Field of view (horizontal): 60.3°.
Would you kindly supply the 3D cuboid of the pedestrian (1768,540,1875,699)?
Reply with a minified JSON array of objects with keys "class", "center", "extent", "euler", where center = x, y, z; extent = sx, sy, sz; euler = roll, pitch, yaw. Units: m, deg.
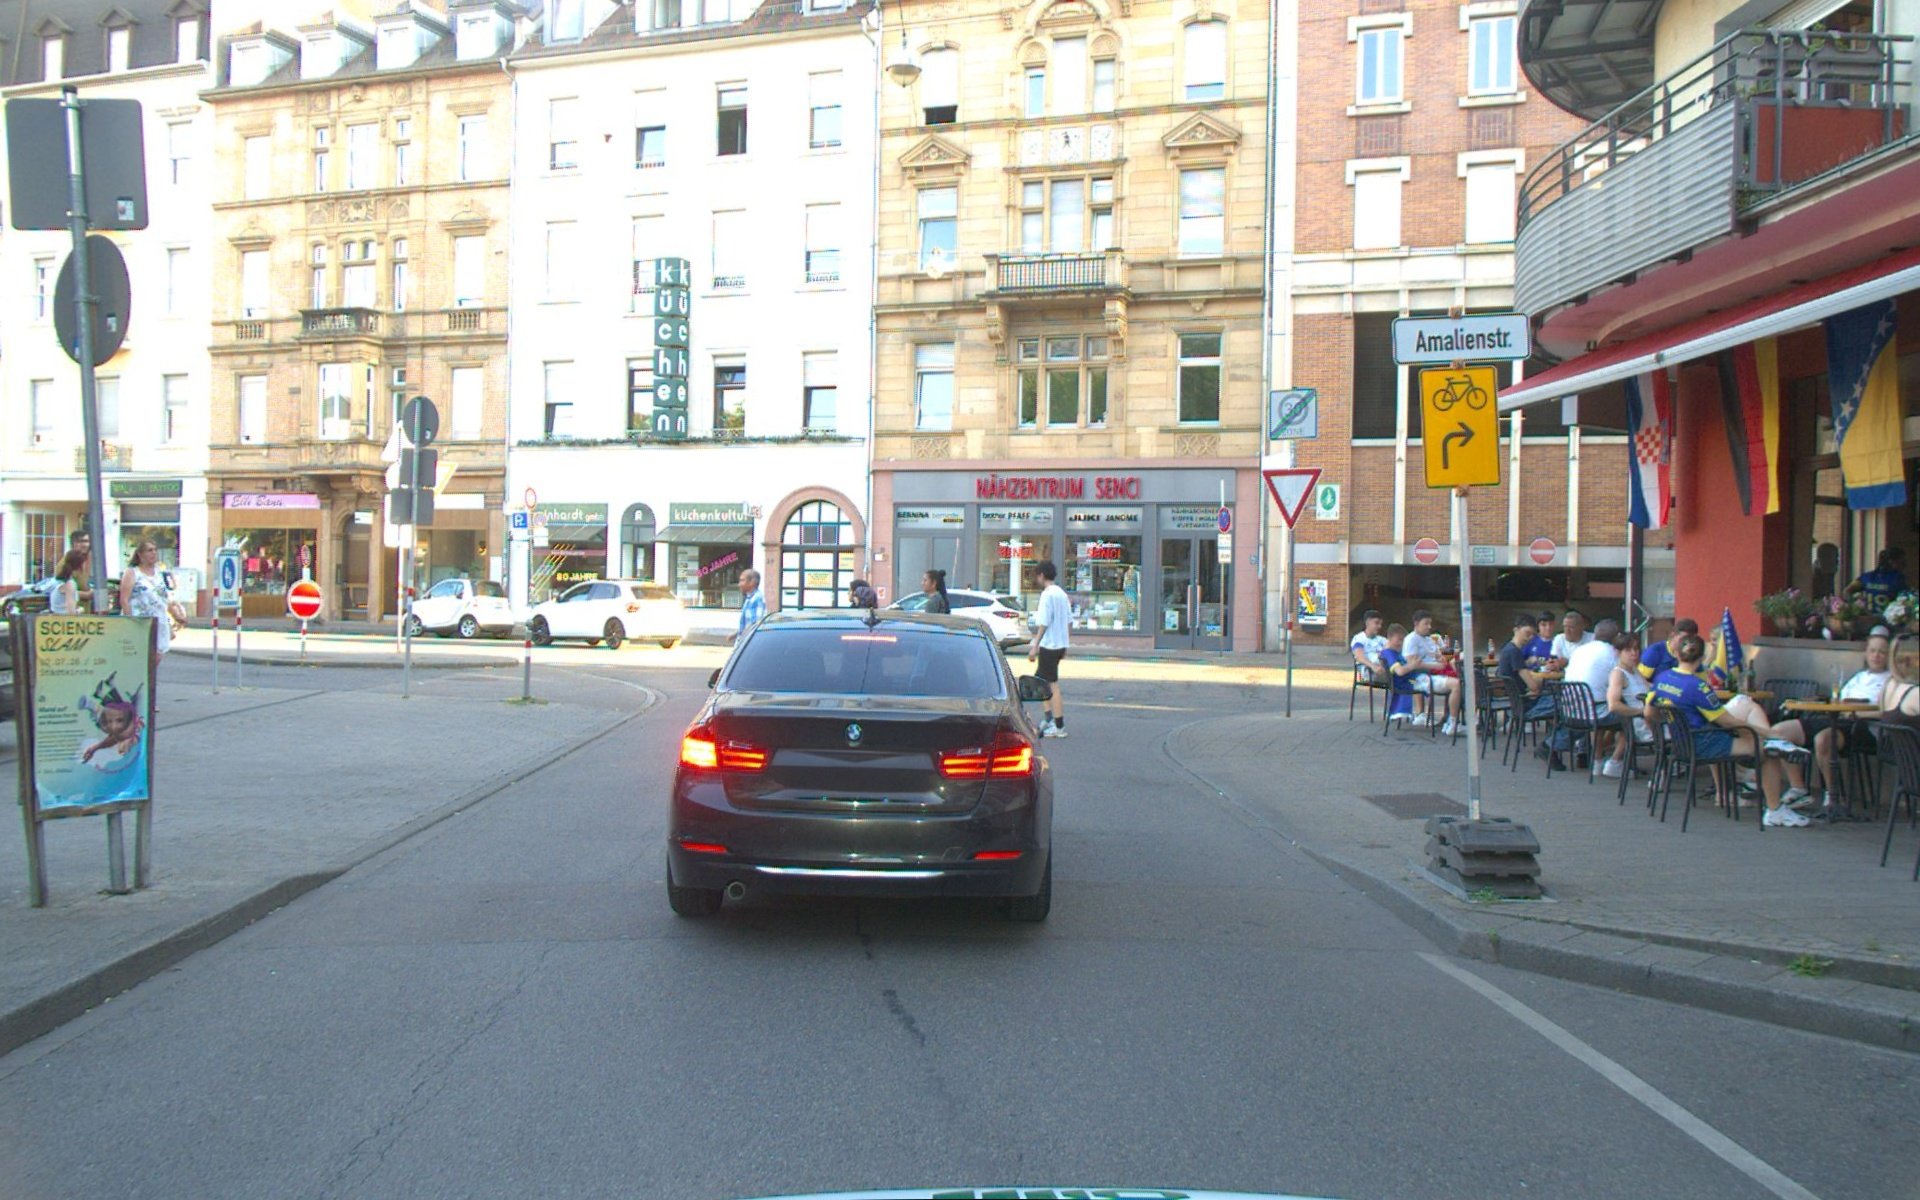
[{"class":"pedestrian","center":[9.075,0.203,17.436],"extent":[0.705,1.635,0.682],"euler":[2,0,-29]}]

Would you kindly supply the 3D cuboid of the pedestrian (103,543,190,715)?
[{"class":"pedestrian","center":[-8.592,0.293,17.471],"extent":[0.652,1.776,0.663],"euler":[0,0,-44]}]

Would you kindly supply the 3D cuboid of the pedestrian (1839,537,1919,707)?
[{"class":"pedestrian","center":[9.192,0.215,16.393],"extent":[0.524,1.635,0.605],"euler":[2,0,-24]}]

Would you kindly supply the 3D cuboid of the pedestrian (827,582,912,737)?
[{"class":"pedestrian","center":[-0.938,0.600,16.957],"extent":[0.722,1.540,0.648],"euler":[3,0,-12]}]

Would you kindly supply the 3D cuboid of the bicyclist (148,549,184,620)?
[{"class":"bicyclist","center":[-20.516,-0.398,42.745],"extent":[0.604,1.787,0.526],"euler":[2,0,13]}]

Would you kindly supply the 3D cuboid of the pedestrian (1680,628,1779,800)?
[{"class":"pedestrian","center":[5.696,0.830,12.245],"extent":[0.528,1.222,0.415],"euler":[-2,0,45]}]

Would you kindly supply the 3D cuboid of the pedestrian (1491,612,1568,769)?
[{"class":"pedestrian","center":[4.949,0.775,14.378],"extent":[0.481,1.326,0.418],"euler":[-2,0,-3]}]

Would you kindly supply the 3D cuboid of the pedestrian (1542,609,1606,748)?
[{"class":"pedestrian","center":[5.905,0.740,15.913],"extent":[0.479,1.299,0.522],"euler":[1,0,10]}]

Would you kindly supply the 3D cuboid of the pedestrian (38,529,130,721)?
[{"class":"pedestrian","center":[-8.934,0.244,16.891],"extent":[0.571,1.915,0.634],"euler":[1,0,3]}]

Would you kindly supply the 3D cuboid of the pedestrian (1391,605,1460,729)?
[{"class":"pedestrian","center":[5.049,0.718,17.968],"extent":[0.604,1.306,0.660],"euler":[1,0,6]}]

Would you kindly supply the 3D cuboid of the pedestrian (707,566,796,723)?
[{"class":"pedestrian","center":[-2.431,0.506,19.296],"extent":[0.876,1.755,0.608],"euler":[2,2,4]}]

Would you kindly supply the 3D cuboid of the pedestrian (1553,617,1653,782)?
[{"class":"pedestrian","center":[5.314,0.804,13.669],"extent":[0.622,1.298,0.504],"euler":[-2,0,-40]}]

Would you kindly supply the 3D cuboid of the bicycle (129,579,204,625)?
[{"class":"bicycle","center":[-20.517,0.058,42.754],"extent":[1.756,1.127,0.538],"euler":[2,0,13]}]

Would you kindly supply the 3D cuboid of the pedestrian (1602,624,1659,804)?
[{"class":"pedestrian","center":[4.913,0.828,12.129],"extent":[0.336,1.279,0.360],"euler":[-2,0,19]}]

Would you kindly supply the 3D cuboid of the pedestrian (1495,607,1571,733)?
[{"class":"pedestrian","center":[6.149,0.730,17.745],"extent":[0.606,1.301,0.698],"euler":[1,0,35]}]

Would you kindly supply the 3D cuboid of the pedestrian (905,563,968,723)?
[{"class":"pedestrian","center":[-0.262,0.477,18.759],"extent":[0.653,1.776,0.607],"euler":[1,0,3]}]

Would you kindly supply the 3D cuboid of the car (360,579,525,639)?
[{"class":"car","center":[-13.867,0.231,44.354],"extent":[3.904,1.537,1.800],"euler":[1,-1,20]}]

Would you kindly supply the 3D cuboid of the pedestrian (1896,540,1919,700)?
[{"class":"pedestrian","center":[10.205,0.219,17.115],"extent":[0.683,1.635,0.704],"euler":[2,0,-44]}]

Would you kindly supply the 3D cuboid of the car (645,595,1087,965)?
[{"class":"car","center":[-0.459,0.723,9.036],"extent":[1.729,1.399,4.788],"euler":[2,1,-2]}]

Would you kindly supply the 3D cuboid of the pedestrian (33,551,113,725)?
[{"class":"pedestrian","center":[-8.660,0.367,16.168],"extent":[0.490,1.672,0.520],"euler":[1,0,-1]}]

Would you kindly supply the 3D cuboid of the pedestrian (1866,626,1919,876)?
[{"class":"pedestrian","center":[5.413,0.797,8.987],"extent":[0.672,1.309,0.609],"euler":[0,0,7]}]

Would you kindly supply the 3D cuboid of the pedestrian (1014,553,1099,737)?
[{"class":"pedestrian","center":[1.037,0.469,17.688],"extent":[0.684,1.910,0.678],"euler":[2,0,20]}]

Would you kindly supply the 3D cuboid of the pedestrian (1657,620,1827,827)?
[{"class":"pedestrian","center":[5.098,0.792,10.802],"extent":[0.841,1.279,0.491],"euler":[-2,0,-3]}]

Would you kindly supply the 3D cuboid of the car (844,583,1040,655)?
[{"class":"car","center":[-0.418,0.433,39.129],"extent":[4.261,1.590,1.869],"euler":[1,-1,20]}]

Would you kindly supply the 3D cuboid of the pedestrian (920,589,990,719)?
[{"class":"pedestrian","center":[-0.055,0.625,19.500],"extent":[0.798,1.500,0.607],"euler":[1,0,1]}]

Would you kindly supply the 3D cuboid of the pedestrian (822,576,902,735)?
[{"class":"pedestrian","center":[-1.049,0.579,17.629],"extent":[0.711,1.637,0.648],"euler":[3,0,-12]}]

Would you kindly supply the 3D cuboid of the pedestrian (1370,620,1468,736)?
[{"class":"pedestrian","center":[4.771,0.802,17.246],"extent":[0.871,1.170,0.619],"euler":[1,0,4]}]

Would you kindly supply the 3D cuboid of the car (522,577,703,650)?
[{"class":"car","center":[-7.622,0.257,36.099],"extent":[3.926,1.498,1.874],"euler":[1,1,40]}]

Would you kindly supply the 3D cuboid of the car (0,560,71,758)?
[{"class":"car","center":[-9.448,0.433,12.996],"extent":[3.915,1.527,1.886],"euler":[1,0,-11]}]

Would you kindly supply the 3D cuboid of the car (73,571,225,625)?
[{"class":"car","center":[-23.827,-0.058,48.622],"extent":[3.904,1.537,1.800],"euler":[1,-1,20]}]

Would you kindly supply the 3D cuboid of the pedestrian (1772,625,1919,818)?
[{"class":"pedestrian","center":[6.170,0.813,11.390],"extent":[0.763,1.244,0.714],"euler":[-2,0,-3]}]

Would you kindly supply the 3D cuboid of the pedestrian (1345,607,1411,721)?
[{"class":"pedestrian","center":[4.835,0.726,19.174],"extent":[0.604,1.276,0.736],"euler":[1,0,3]}]

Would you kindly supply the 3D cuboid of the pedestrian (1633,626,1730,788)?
[{"class":"pedestrian","center":[5.648,0.824,12.951],"extent":[0.415,1.222,0.560],"euler":[-2,0,-44]}]
